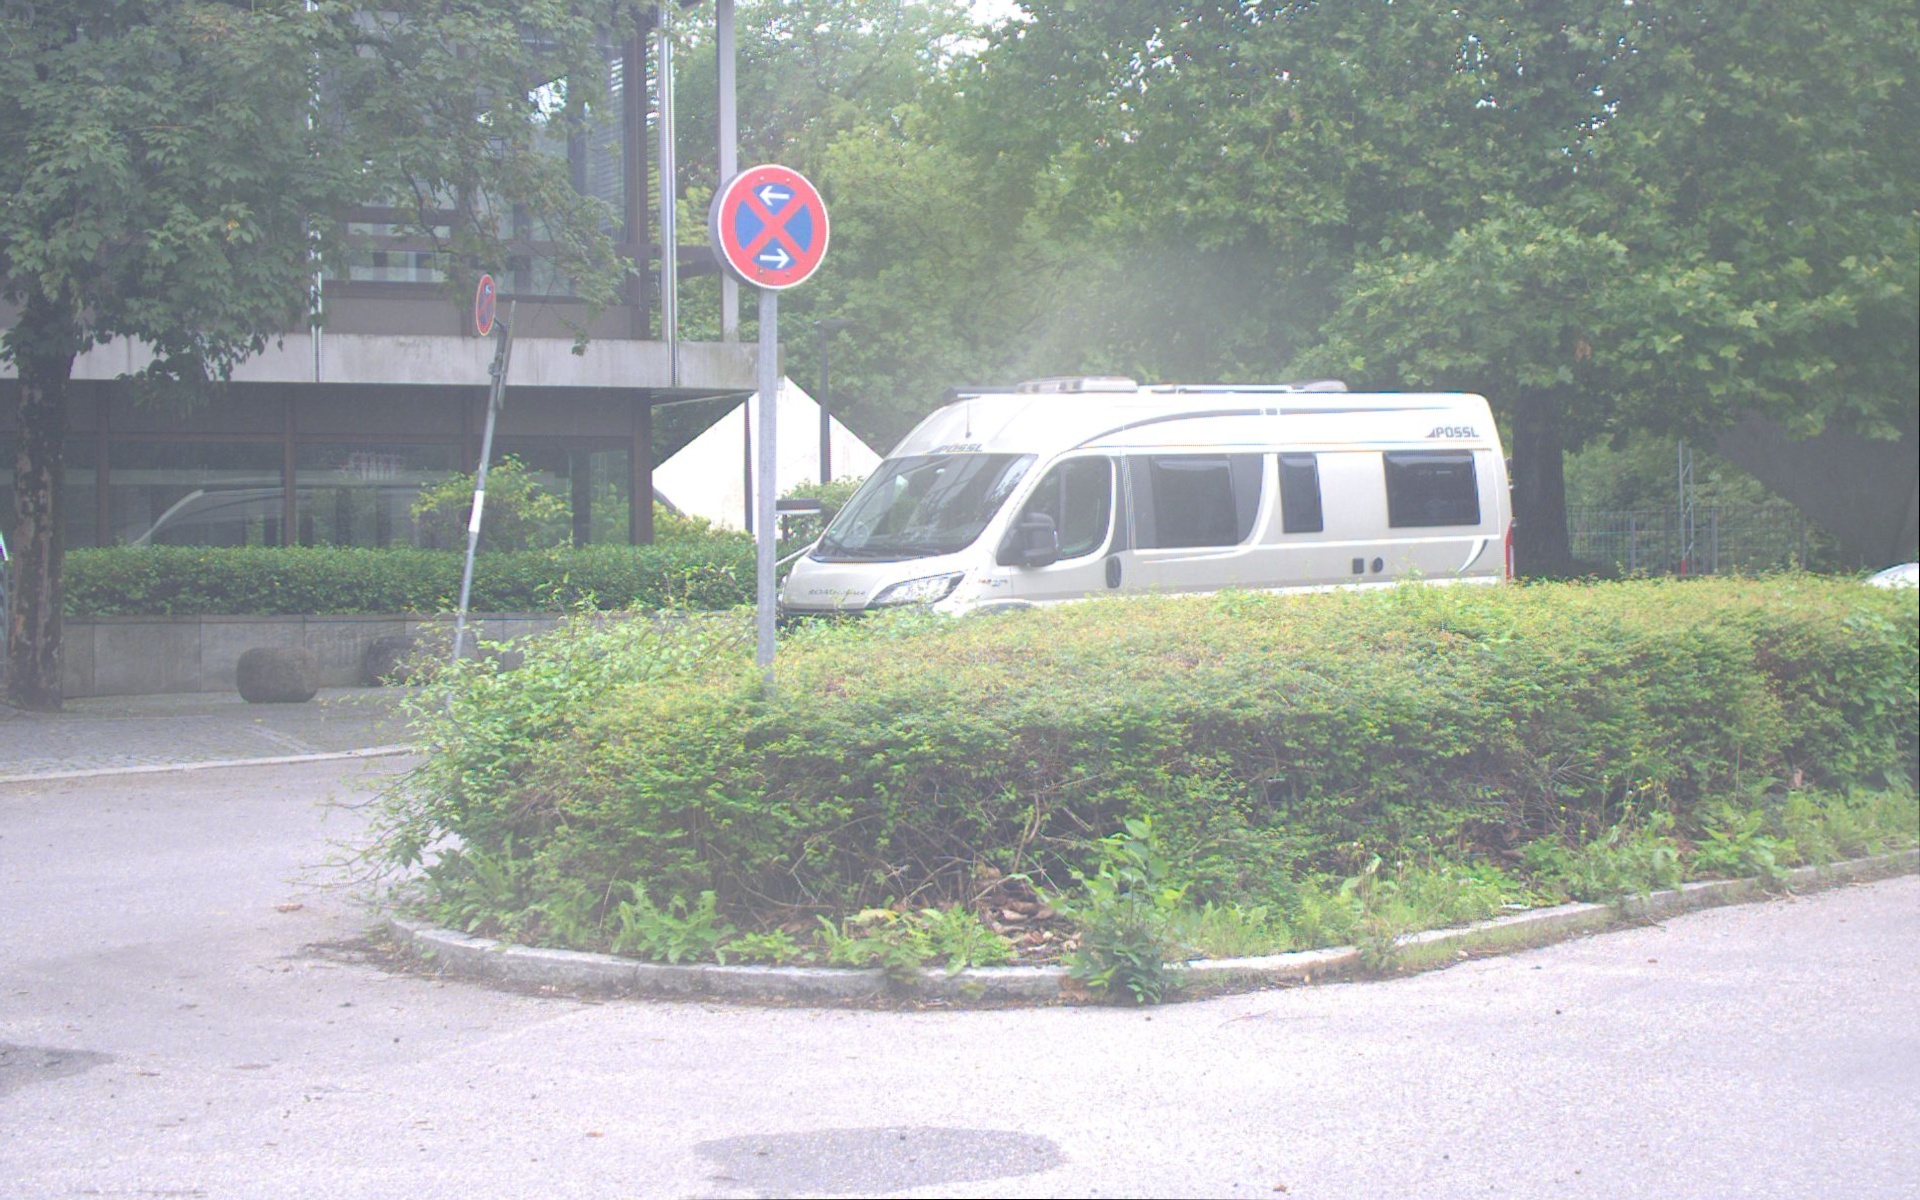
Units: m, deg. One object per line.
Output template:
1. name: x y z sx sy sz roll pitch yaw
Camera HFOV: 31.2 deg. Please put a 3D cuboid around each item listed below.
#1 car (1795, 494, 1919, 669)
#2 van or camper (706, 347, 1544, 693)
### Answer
1. car: 9.748 -0.205 30.871 3.986 1.503 2.000 -1 1 -25
2. van or camper: 1.378 -0.580 25.533 6.400 2.273 2.254 -1 1 -41
